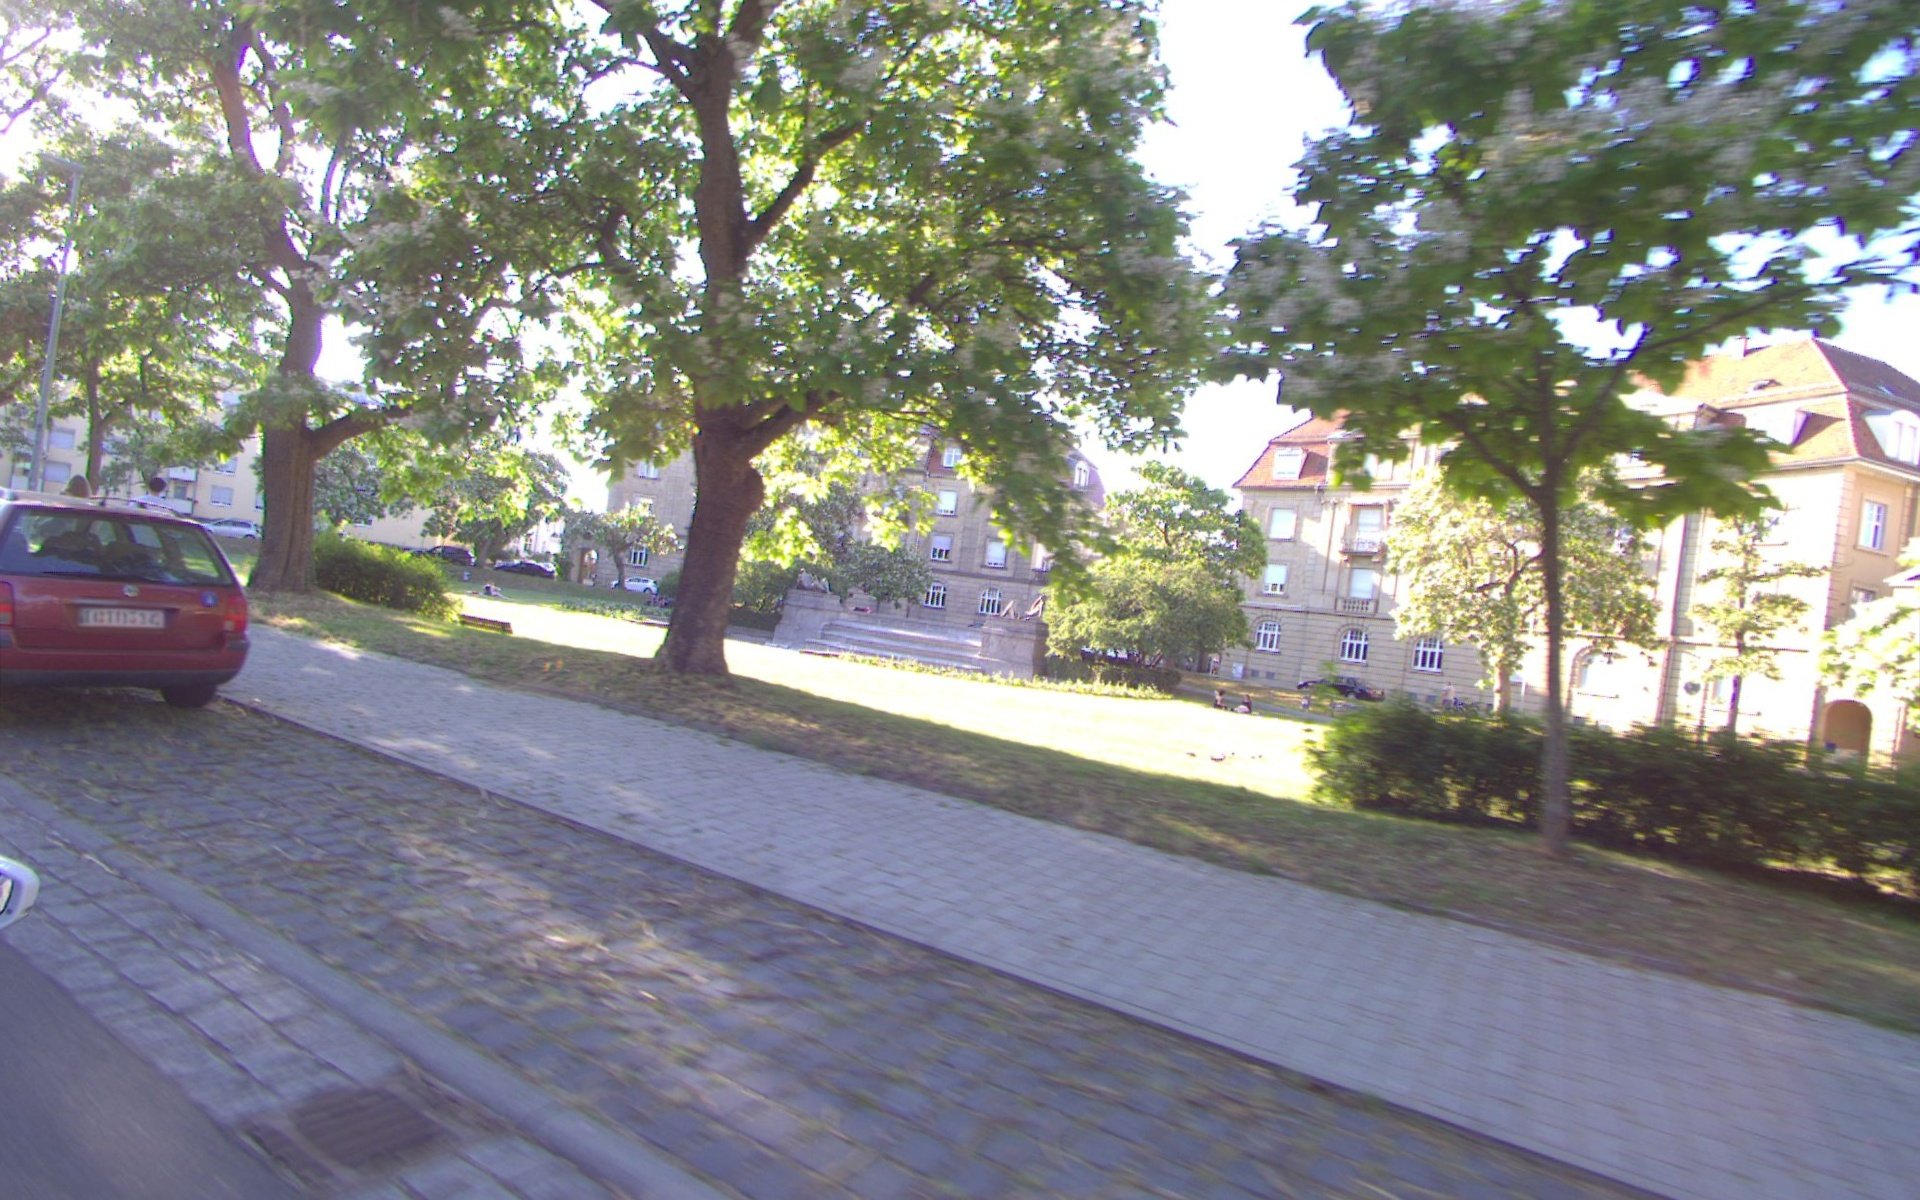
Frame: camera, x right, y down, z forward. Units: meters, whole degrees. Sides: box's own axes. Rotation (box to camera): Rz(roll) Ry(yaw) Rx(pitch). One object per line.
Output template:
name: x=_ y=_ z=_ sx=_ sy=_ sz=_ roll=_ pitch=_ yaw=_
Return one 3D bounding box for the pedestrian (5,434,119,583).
pedestrian: x=-11.514 y=-1.165 z=12.905 sx=0.719 sy=1.756 sz=0.754 roll=8 pitch=-1 yaw=32

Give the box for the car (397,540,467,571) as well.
car: x=-41.710 y=-3.500 z=79.537 sx=4.456 sy=1.767 sz=1.875 roll=8 pitch=-1 yaw=-15

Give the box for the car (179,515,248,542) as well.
car: x=-58.179 y=-5.520 z=78.488 sx=3.957 sy=1.470 sz=1.866 roll=8 pitch=-1 yaw=-30

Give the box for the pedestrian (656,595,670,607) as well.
pedestrian: x=-21.079 y=0.075 z=71.399 sx=0.655 sy=0.804 sz=0.587 roll=7 pitch=0 yaw=21

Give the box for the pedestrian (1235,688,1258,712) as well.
pedestrian: x=12.215 y=4.258 z=42.872 sx=0.570 sy=0.891 sz=0.674 roll=8 pitch=-1 yaw=-21

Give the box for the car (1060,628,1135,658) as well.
car: x=9.580 y=3.026 z=70.530 sx=4.877 sy=1.434 sz=1.813 roll=6 pitch=-1 yaw=39

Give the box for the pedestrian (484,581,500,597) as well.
pedestrian: x=-25.459 y=-0.611 z=54.769 sx=0.578 sy=0.804 sz=0.666 roll=7 pitch=0 yaw=-11

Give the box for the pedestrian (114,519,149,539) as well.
pedestrian: x=-44.786 y=-3.835 z=54.408 sx=1.240 sy=0.822 sz=0.573 roll=9 pitch=-1 yaw=-13

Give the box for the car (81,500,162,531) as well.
car: x=-62.947 y=-6.305 z=75.614 sx=4.493 sy=1.588 sz=1.860 roll=8 pitch=-1 yaw=-40

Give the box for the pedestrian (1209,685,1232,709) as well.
pedestrian: x=11.054 y=4.110 z=42.692 sx=0.570 sy=0.891 sz=0.674 roll=8 pitch=-1 yaw=-21

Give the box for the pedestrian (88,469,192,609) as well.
pedestrian: x=-11.110 y=-0.817 z=13.632 sx=0.719 sy=1.756 sz=0.726 roll=8 pitch=-1 yaw=32

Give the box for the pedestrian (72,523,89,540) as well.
pedestrian: x=-46.675 y=-3.633 z=53.377 sx=0.602 sy=0.822 sz=0.473 roll=7 pitch=-1 yaw=33

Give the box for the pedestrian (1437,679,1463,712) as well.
pedestrian: x=24.100 y=4.714 z=49.483 sx=0.935 sy=1.493 sz=0.681 roll=7 pitch=0 yaw=34

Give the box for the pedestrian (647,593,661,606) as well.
pedestrian: x=-21.811 y=-0.036 z=71.624 sx=0.655 sy=0.804 sz=0.587 roll=7 pitch=0 yaw=21

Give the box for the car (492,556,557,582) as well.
car: x=-35.053 y=-2.504 z=81.012 sx=4.291 sy=1.470 sz=1.879 roll=7 pitch=-1 yaw=-6

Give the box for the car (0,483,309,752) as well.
car: x=-7.009 y=-0.070 z=7.467 sx=4.729 sy=1.504 sz=1.681 roll=7 pitch=-1 yaw=31

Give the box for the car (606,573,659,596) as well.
car: x=-28.690 y=-1.369 z=88.219 sx=3.926 sy=1.470 sz=1.881 roll=7 pitch=-1 yaw=1

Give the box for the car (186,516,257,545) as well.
car: x=-54.246 y=-5.085 z=73.966 sx=3.959 sy=1.570 sz=1.597 roll=8 pitch=-1 yaw=-31

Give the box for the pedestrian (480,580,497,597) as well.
pedestrian: x=-25.346 y=-0.611 z=54.074 sx=0.578 sy=0.804 sz=0.666 roll=7 pitch=0 yaw=-11

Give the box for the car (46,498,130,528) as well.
car: x=-60.449 y=-5.984 z=69.843 sx=4.175 sy=1.374 sz=1.675 roll=8 pitch=-1 yaw=-38

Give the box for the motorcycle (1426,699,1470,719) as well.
motorcycle: x=23.999 y=5.355 z=49.500 sx=1.829 sy=0.679 sz=0.681 roll=7 pitch=-1 yaw=34

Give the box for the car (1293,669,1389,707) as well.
car: x=21.664 y=4.999 z=57.369 sx=1.802 sy=1.434 sz=4.906 roll=8 pitch=-1 yaw=-33
